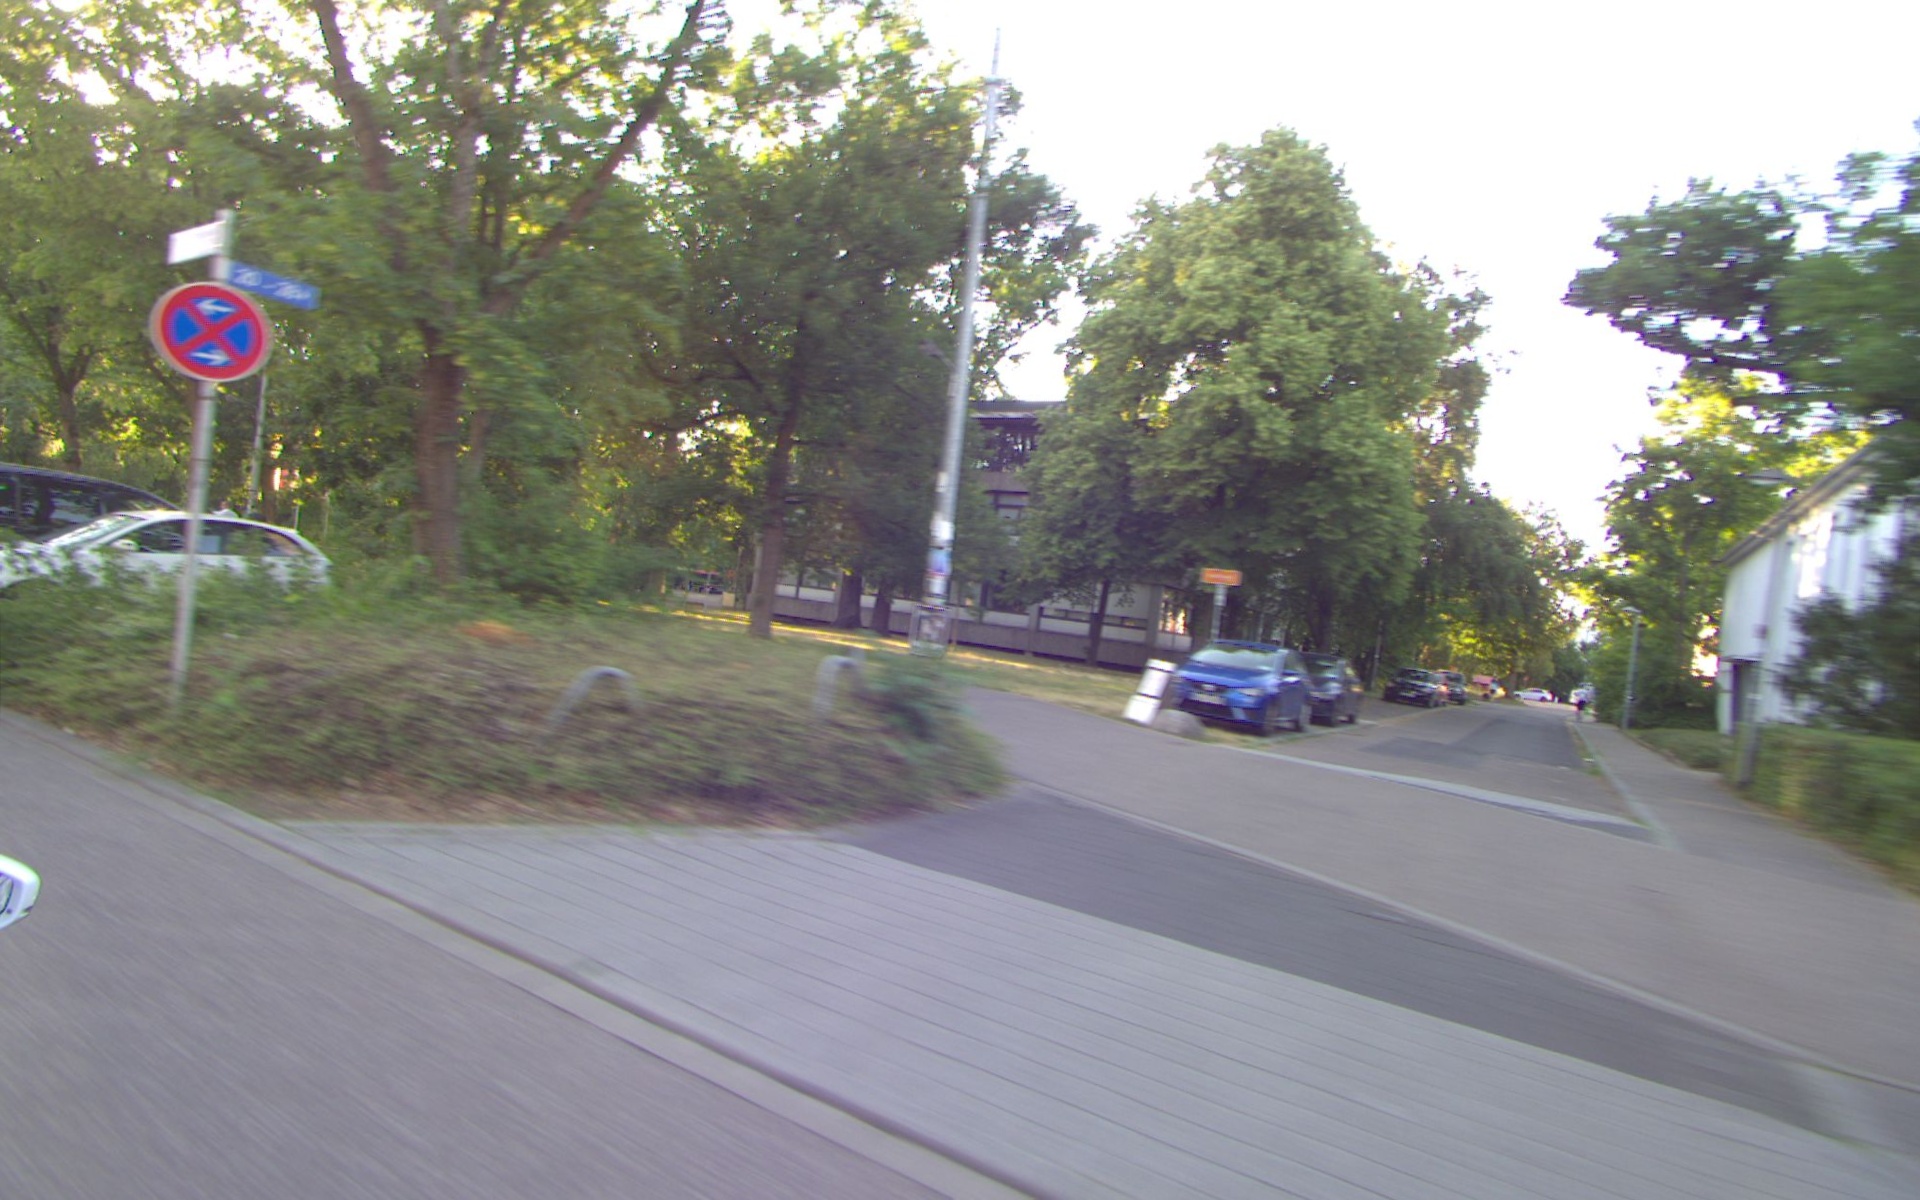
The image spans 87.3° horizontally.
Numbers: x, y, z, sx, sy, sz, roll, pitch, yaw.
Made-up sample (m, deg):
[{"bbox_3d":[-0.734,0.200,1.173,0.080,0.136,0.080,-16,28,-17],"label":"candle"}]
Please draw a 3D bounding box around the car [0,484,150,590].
[{"bbox_3d":[-16.033,-1.141,16.077,1.888,1.557,4.366,7,1,30],"label":"car"}]

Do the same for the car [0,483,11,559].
[{"bbox_3d":[-22.270,-1.863,19.741,1.884,1.574,4.930,7,1,30],"label":"car"}]

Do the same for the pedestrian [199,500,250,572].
[{"bbox_3d":[-19.675,-1.707,26.924,0.772,1.794,0.665,8,1,27],"label":"pedestrian"}]

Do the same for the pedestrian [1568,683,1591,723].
[{"bbox_3d":[30.251,5.018,49.104,0.709,1.860,0.739,7,0,29],"label":"pedestrian"}]

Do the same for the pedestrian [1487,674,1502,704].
[{"bbox_3d":[35.784,5.950,67.353,0.709,1.860,0.739,7,0,29],"label":"pedestrian"}]

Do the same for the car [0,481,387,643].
[{"bbox_3d":[-9.334,-0.392,11.635,1.698,1.574,4.366,7,1,30],"label":"car"}]

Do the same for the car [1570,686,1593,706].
[{"bbox_3d":[75.310,11.602,121.990,1.966,2.038,3.995,7,-1,29],"label":"car"}]

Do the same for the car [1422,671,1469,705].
[{"bbox_3d":[25.176,4.554,52.095,1.708,1.495,3.993,7,-1,31],"label":"car"}]

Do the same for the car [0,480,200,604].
[{"bbox_3d":[-13.666,-0.908,14.106,1.844,1.574,4.366,7,1,30],"label":"car"}]

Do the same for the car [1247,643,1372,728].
[{"bbox_3d":[7.804,1.876,22.252,1.708,1.495,3.993,7,-1,31],"label":"car"}]

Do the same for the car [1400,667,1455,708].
[{"bbox_3d":[20.714,3.869,44.503,1.708,1.495,3.993,7,-1,31],"label":"car"}]

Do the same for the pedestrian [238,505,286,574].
[{"bbox_3d":[-19.377,-1.665,27.925,0.776,1.793,0.648,6,-1,27],"label":"pedestrian"}]

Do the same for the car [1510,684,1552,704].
[{"bbox_3d":[64.937,10.723,114.400,3.934,1.682,1.996,7,0,32],"label":"car"}]

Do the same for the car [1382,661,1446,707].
[{"bbox_3d":[17.702,3.268,39.170,1.708,1.495,3.993,7,-1,31],"label":"car"}]

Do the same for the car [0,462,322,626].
[{"bbox_3d":[-11.108,-0.711,13.001,1.888,1.803,4.366,7,1,30],"label":"car"}]

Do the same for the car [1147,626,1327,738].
[{"bbox_3d":[4.849,1.389,17.203,1.805,1.459,4.146,7,-1,31],"label":"car"}]

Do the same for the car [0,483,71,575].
[{"bbox_3d":[-18.348,-1.417,17.156,1.888,1.557,4.366,7,1,30],"label":"car"}]
